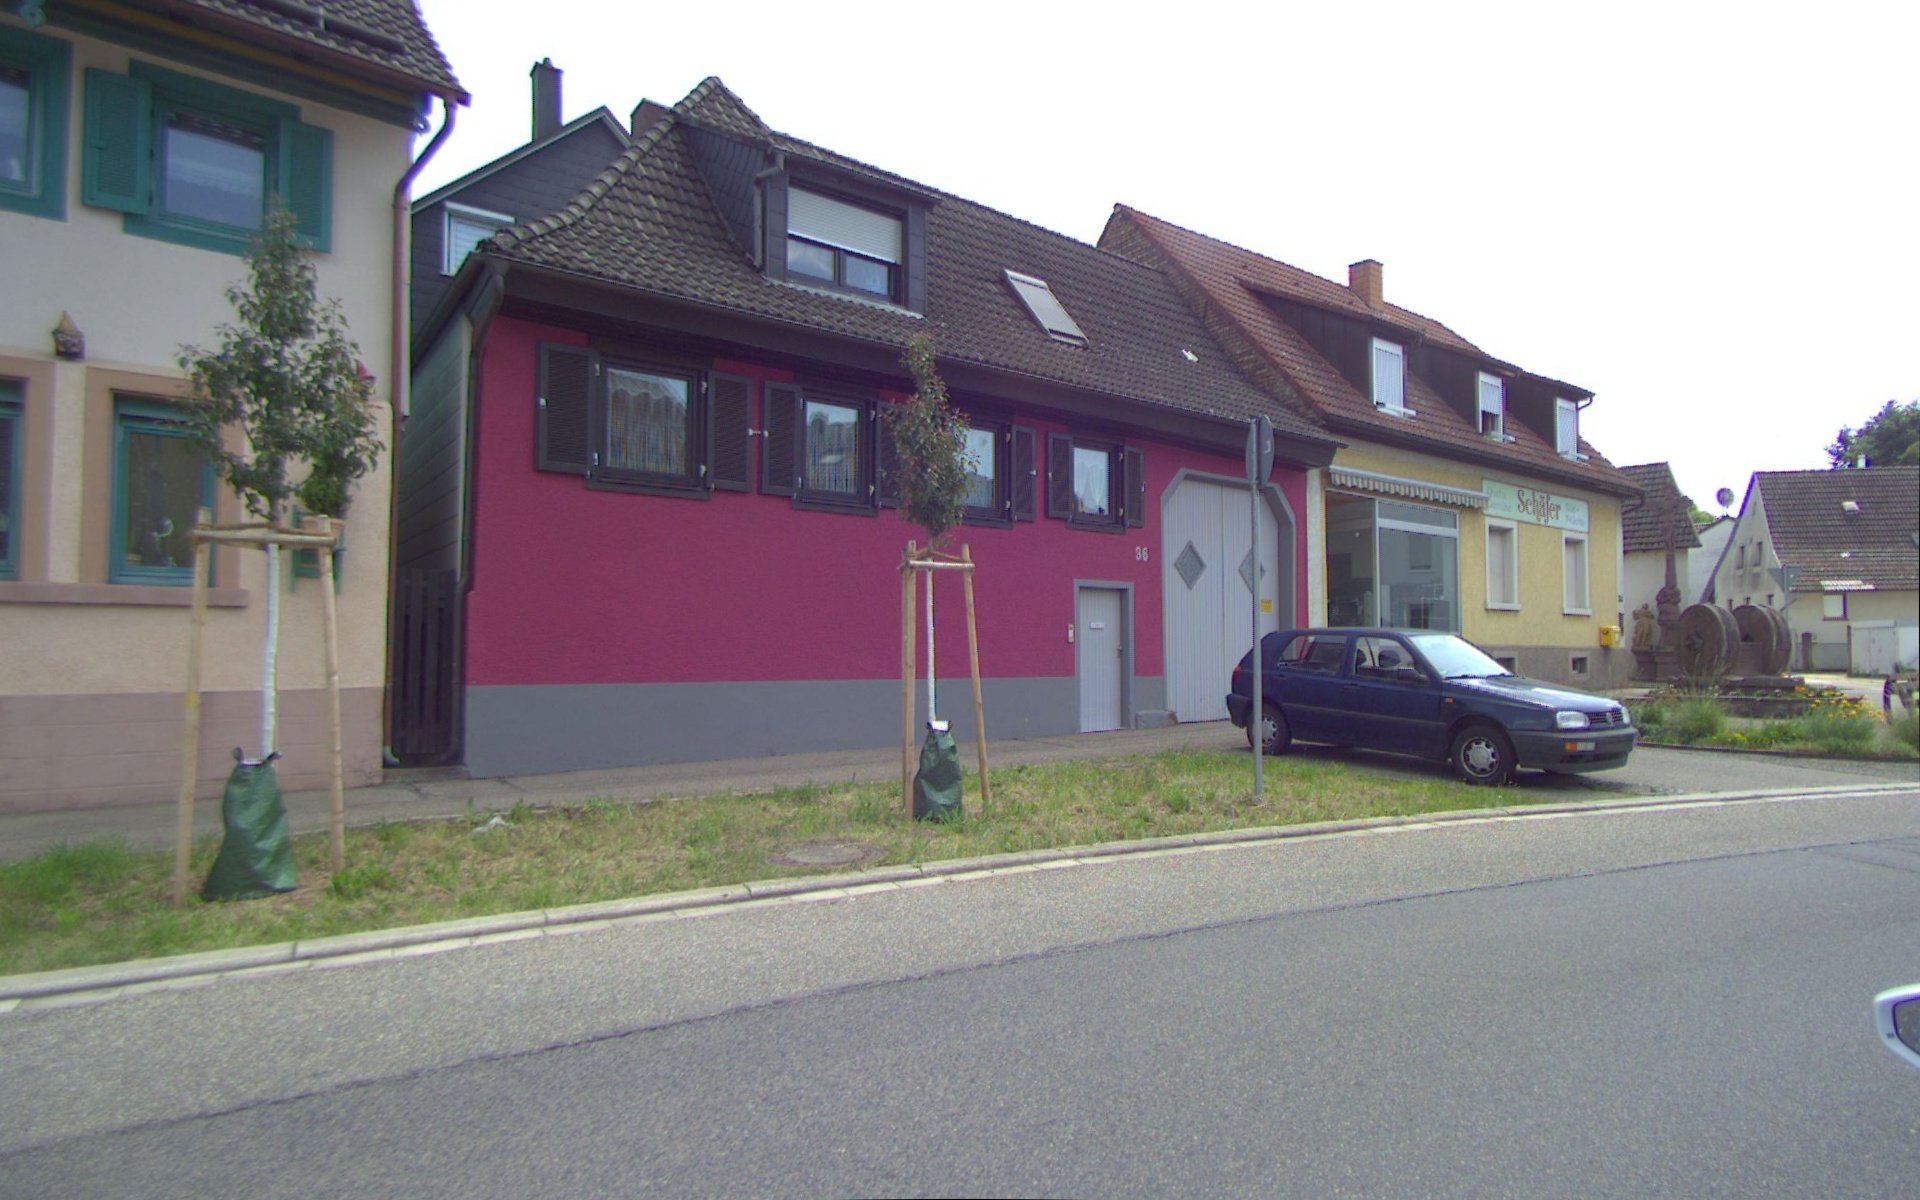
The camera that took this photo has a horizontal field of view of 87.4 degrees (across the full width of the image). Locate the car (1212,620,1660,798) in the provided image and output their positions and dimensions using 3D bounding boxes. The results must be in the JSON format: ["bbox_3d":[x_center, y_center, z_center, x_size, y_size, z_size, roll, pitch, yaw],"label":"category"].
[{"bbox_3d":[4.755,0.969,10.534,1.705,1.483,3.940,2,-2,-36],"label":"car"}]
